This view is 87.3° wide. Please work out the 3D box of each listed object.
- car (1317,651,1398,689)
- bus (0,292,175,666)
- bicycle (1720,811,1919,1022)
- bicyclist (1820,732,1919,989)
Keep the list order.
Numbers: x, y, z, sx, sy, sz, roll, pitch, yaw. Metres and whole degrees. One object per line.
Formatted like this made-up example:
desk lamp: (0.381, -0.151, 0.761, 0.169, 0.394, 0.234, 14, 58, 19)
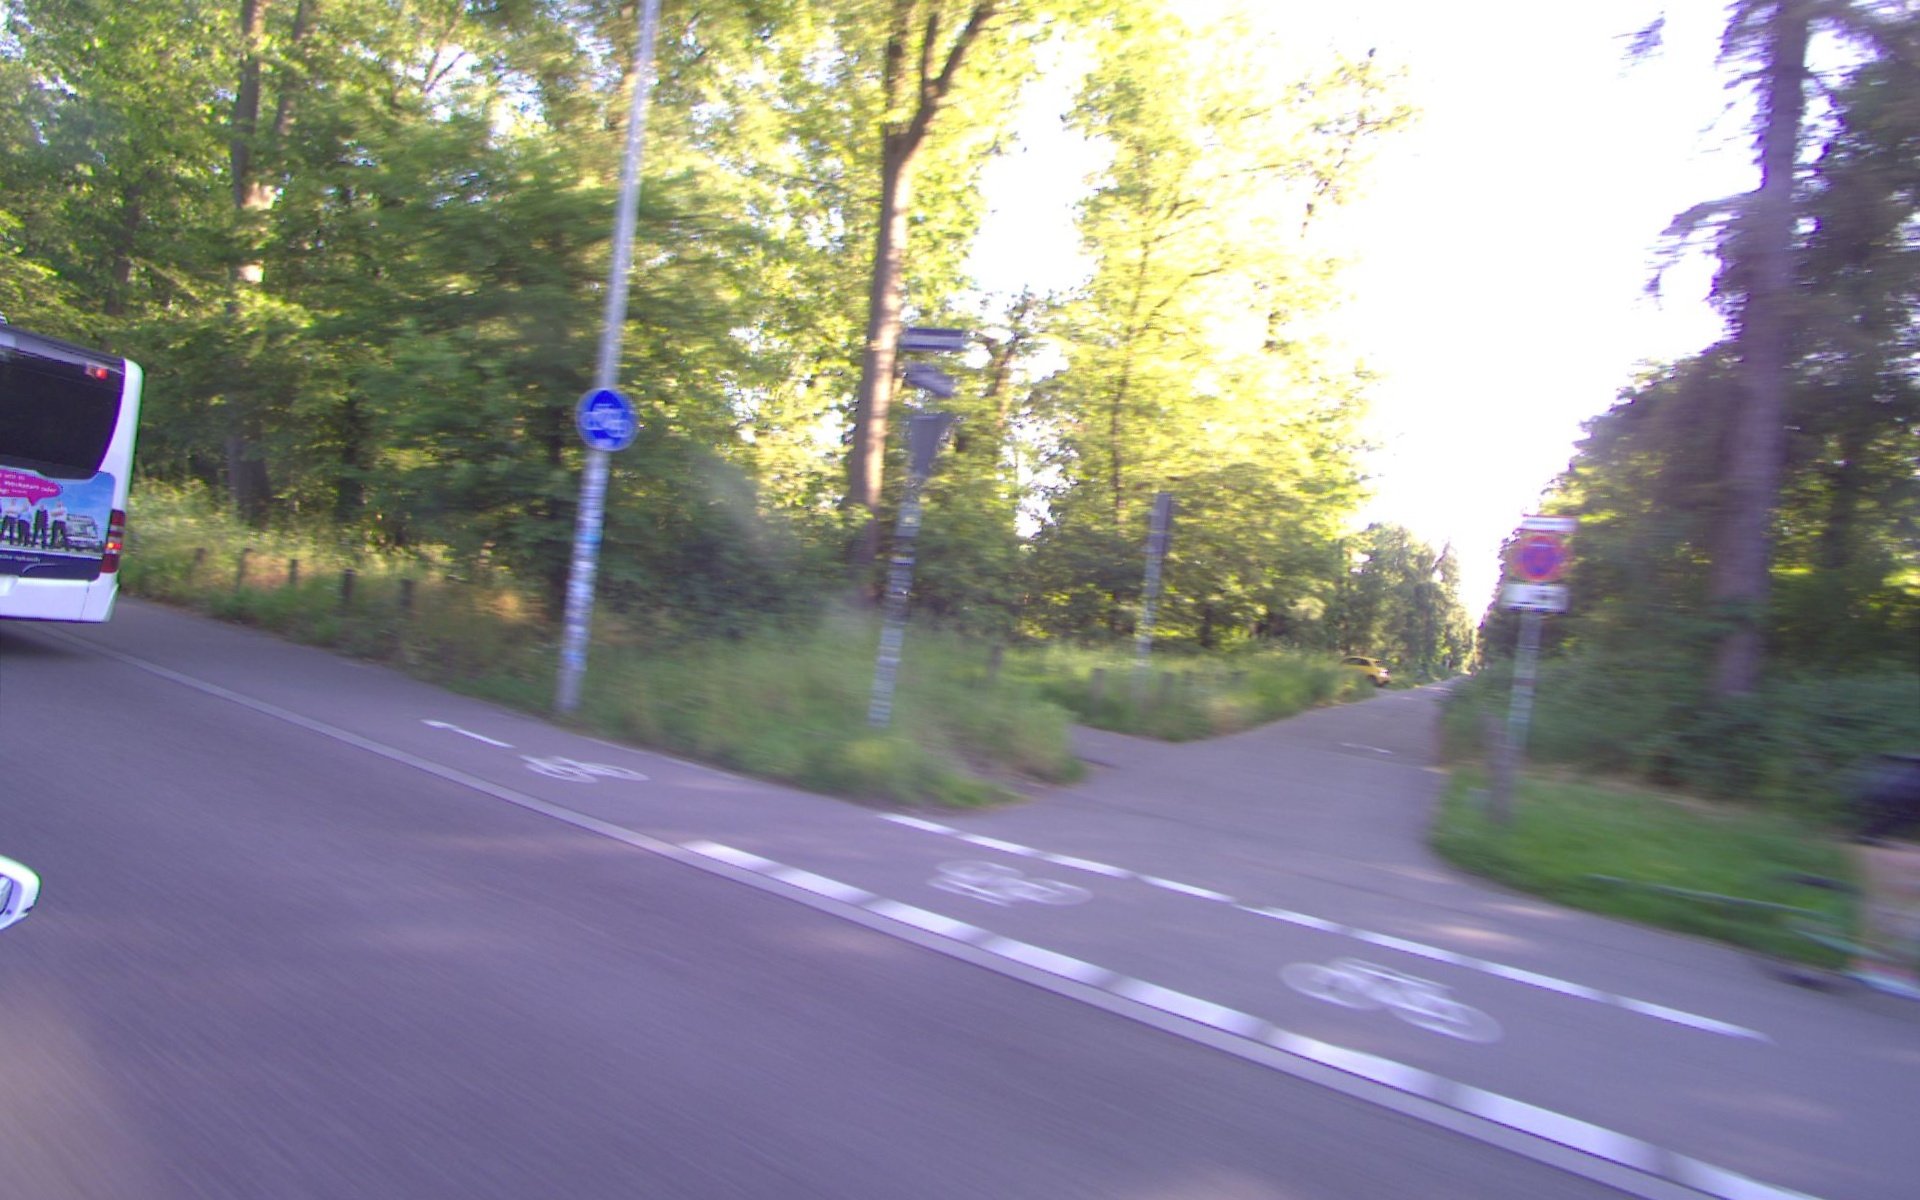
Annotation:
car: (21.936, 3.859, 55.608, 3.703, 1.592, 1.699, 6, -2, 42)
bus: (-13.299, -1.595, 11.227, 11.837, 3.078, 2.695, 6, -1, 30)
bicycle: (5.650, 1.929, 5.928, 0.549, 0.979, 1.735, 8, -1, -44)
bicyclist: (5.730, 1.551, 5.926, 0.478, 1.402, 0.867, 8, -1, -45)
